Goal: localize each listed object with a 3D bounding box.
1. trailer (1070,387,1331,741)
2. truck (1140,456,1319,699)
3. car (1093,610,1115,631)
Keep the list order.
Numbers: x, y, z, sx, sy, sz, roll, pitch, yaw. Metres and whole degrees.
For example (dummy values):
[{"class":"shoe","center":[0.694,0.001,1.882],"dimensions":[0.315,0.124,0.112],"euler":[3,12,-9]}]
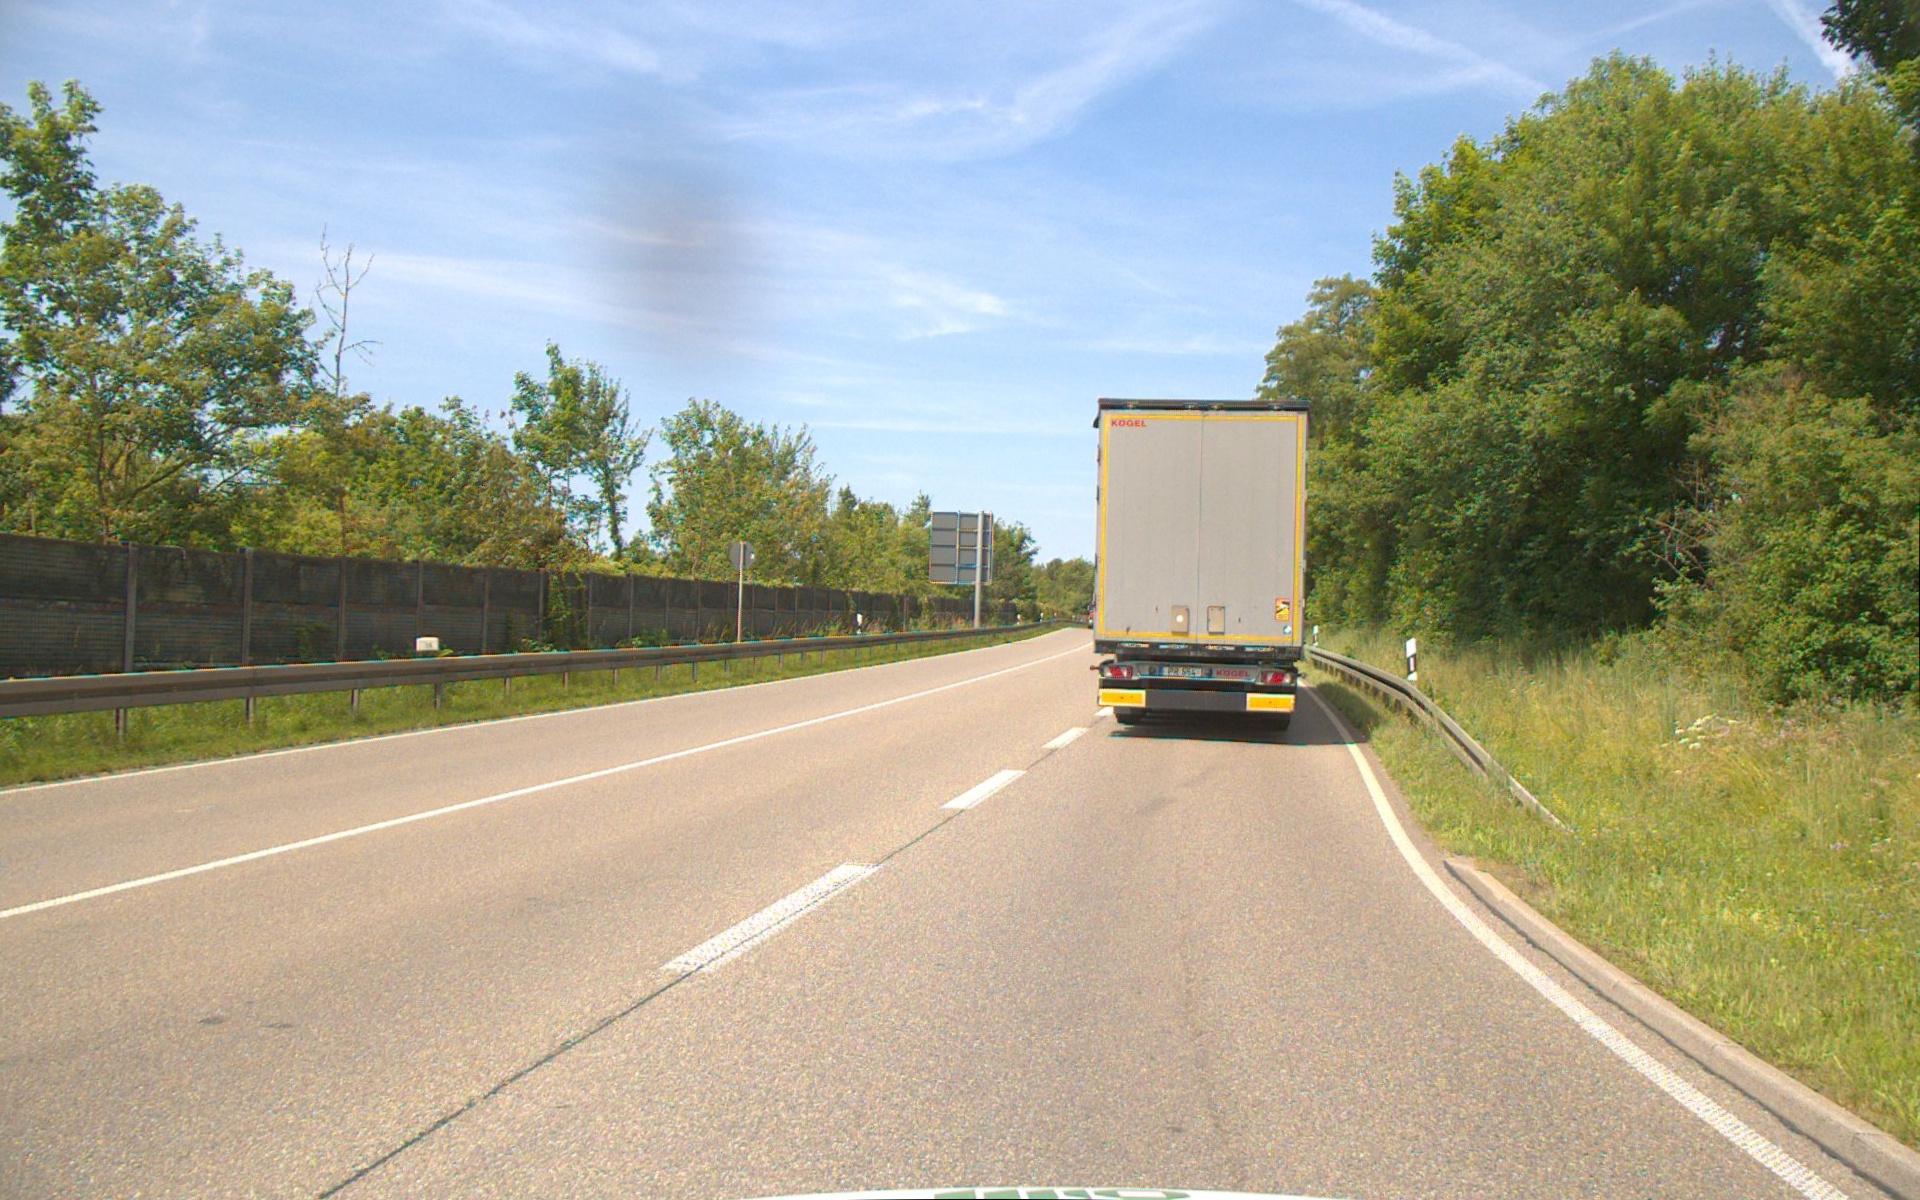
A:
[{"class":"trailer","center":[4.087,-0.367,26.029],"dimensions":[2.962,4.105,13.362],"euler":[1,-1,11]},{"class":"truck","center":[5.468,-0.384,33.151],"dimensions":[3.085,4.298,7.128],"euler":[1,0,11]},{"class":"car","center":[17.098,2.402,196.353],"dimensions":[2.561,2.465,5.831],"euler":[0,0,4]}]
